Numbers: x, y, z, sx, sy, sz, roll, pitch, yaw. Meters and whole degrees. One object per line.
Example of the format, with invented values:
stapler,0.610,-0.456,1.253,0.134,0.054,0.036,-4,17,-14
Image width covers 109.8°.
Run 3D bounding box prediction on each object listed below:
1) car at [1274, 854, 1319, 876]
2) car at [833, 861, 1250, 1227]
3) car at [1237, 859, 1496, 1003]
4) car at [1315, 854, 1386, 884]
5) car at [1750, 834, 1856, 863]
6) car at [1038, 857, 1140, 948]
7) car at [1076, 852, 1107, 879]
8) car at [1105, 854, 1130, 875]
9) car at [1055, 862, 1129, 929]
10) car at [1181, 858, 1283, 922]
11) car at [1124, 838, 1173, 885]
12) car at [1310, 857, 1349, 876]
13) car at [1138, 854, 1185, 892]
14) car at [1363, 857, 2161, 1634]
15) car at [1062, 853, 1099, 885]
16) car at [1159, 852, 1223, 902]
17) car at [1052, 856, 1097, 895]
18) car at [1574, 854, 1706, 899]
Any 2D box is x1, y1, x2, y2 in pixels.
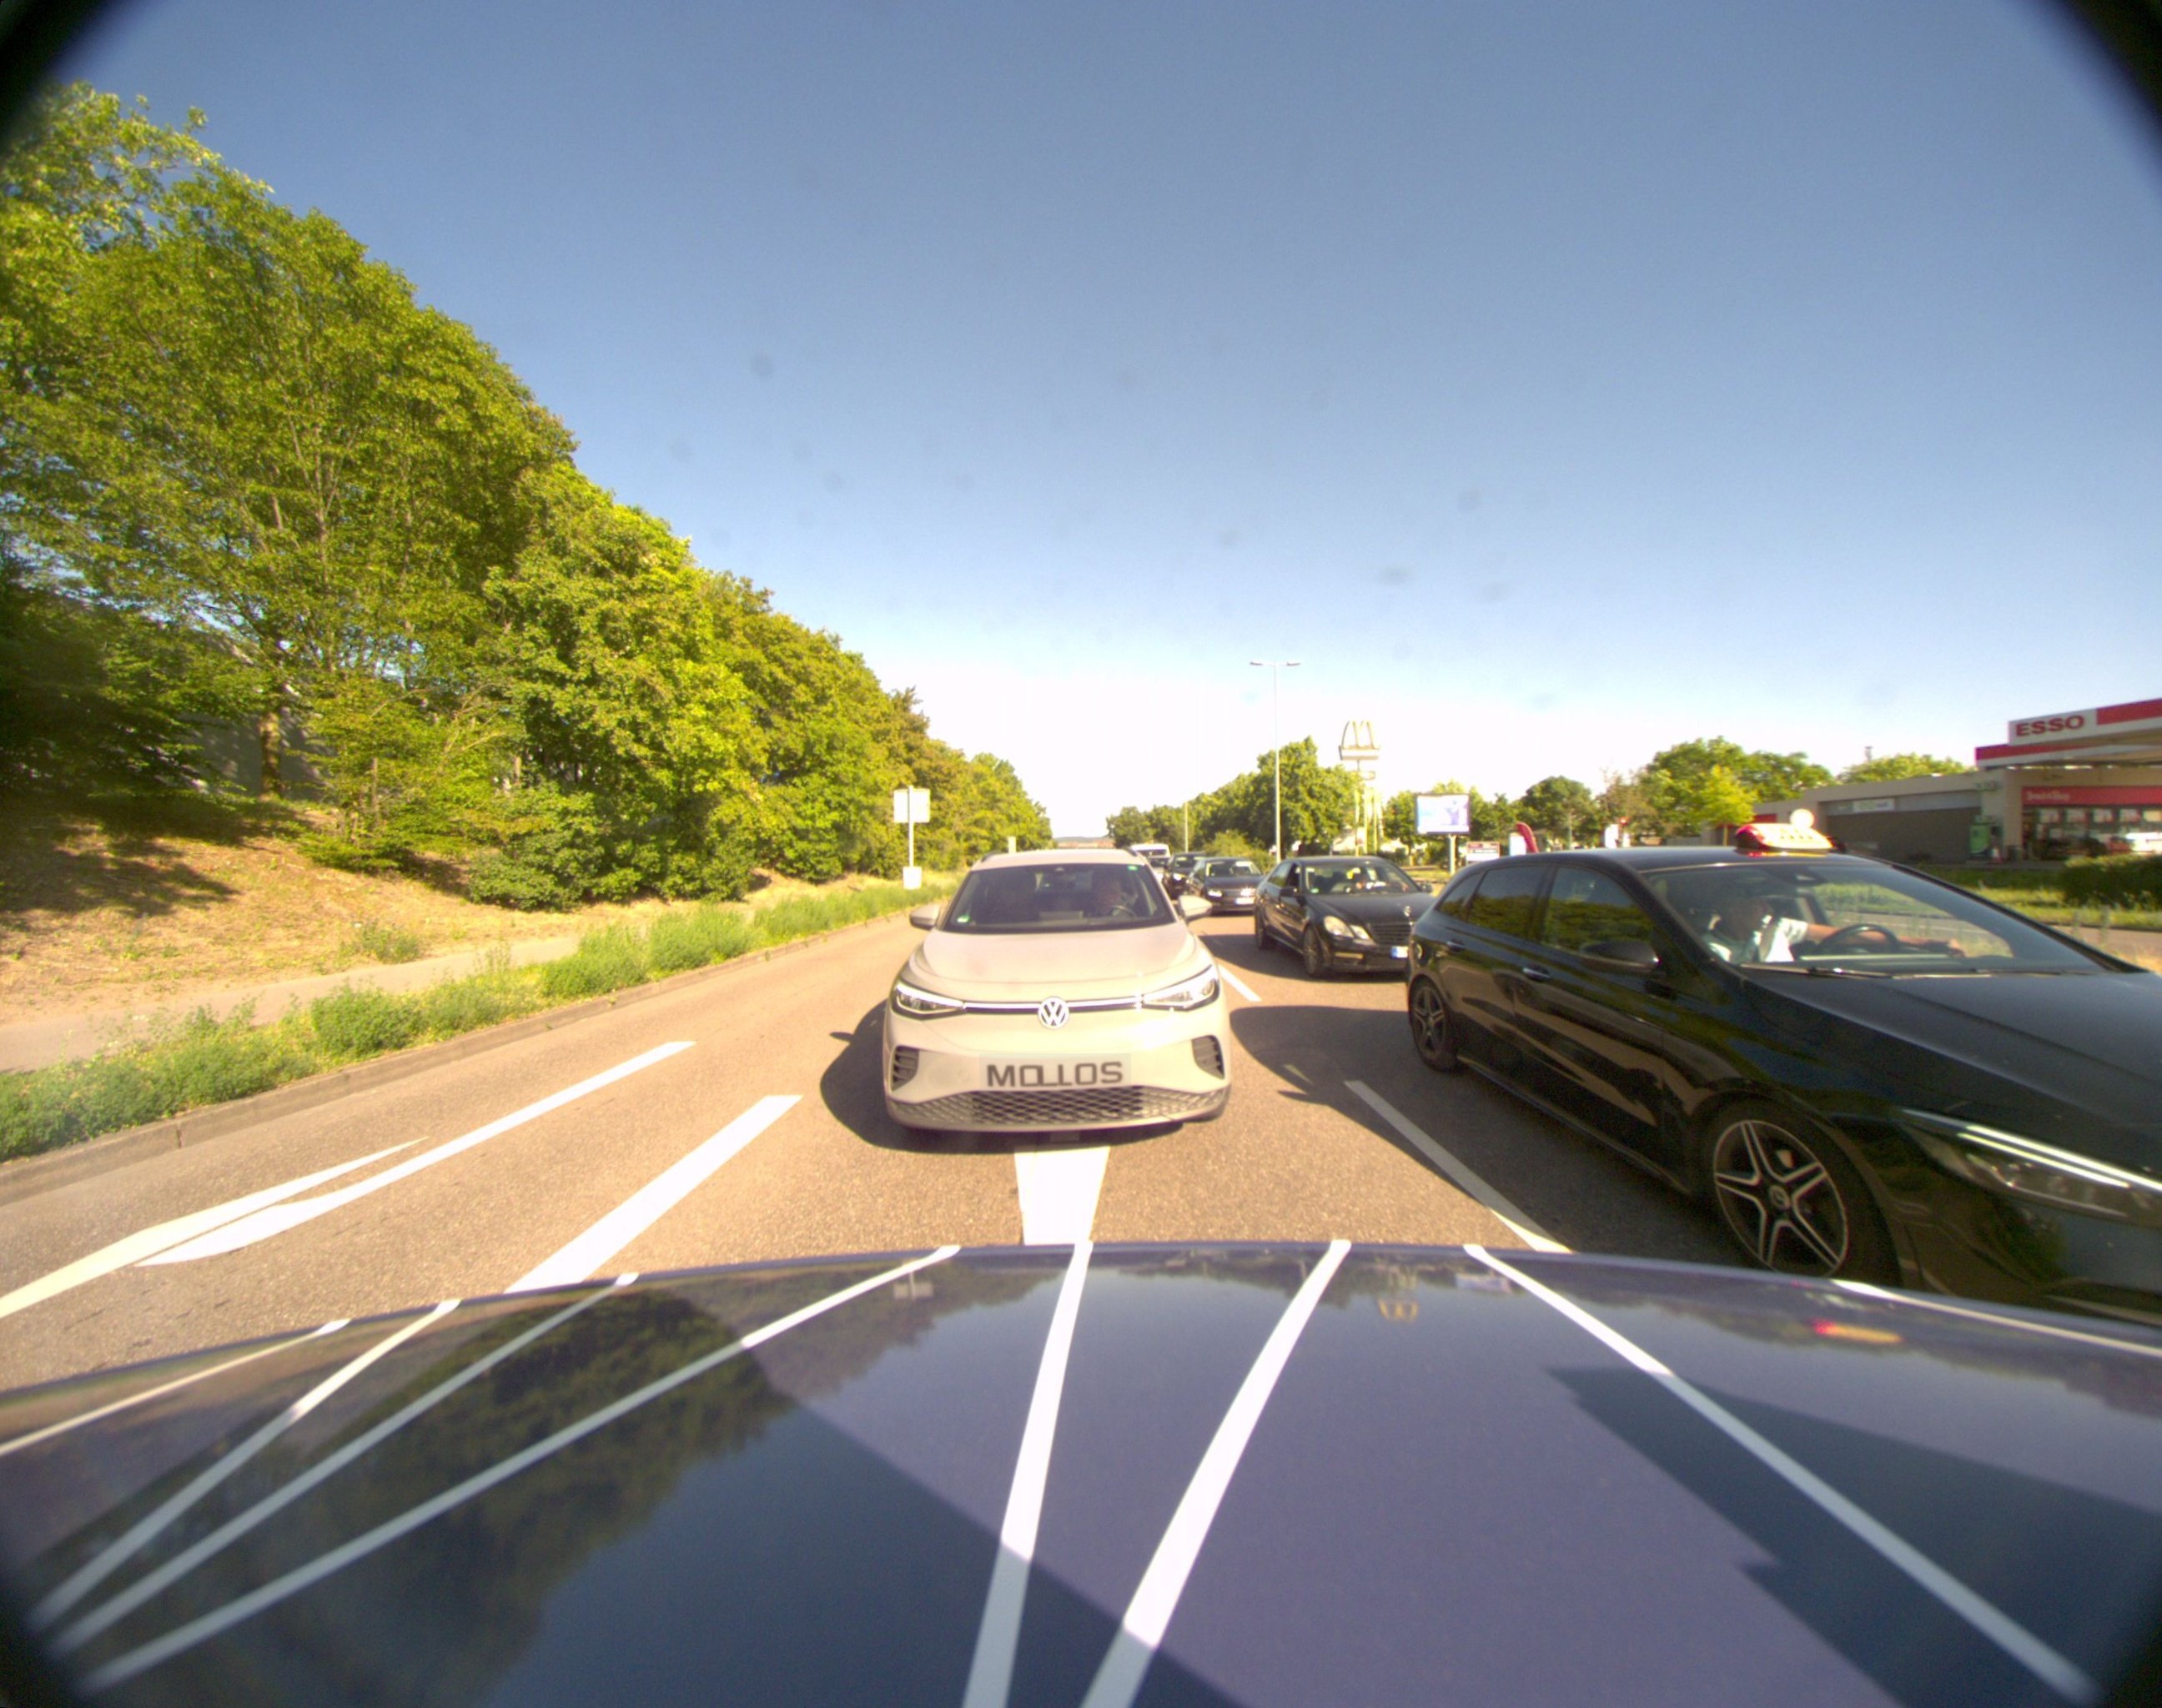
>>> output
car,16.133,0.782,57.092,1.764,1.482,4.878,2,1,-3
car,-0.186,0.902,5.712,1.862,1.573,4.403,-2,0,0
car,3.584,0.855,10.510,1.868,1.430,4.402,-2,1,0
car,13.715,0.737,38.888,1.733,1.401,4.303,1,1,-5
car,37.620,-0.310,39.727,1.682,1.401,3.978,1,1,0
car,0.130,0.875,15.769,1.763,1.482,4.402,-2,1,0
car,0.596,0.694,47.032,1.763,1.482,4.402,-2,1,0
car,2.923,0.820,62.125,1.763,1.607,4.402,-2,1,0
car,0.259,1.042,20.937,1.763,1.482,4.402,-2,1,0
car,3.867,0.864,20.226,1.797,1.419,4.287,-2,0,0
car,3.646,0.389,42.055,2.019,2.349,6.523,-2,0,0
car,19.911,0.964,61.120,1.763,1.401,3.978,1,1,0
car,3.566,0.795,34.175,1.635,1.547,3.777,-2,0,0
car,3.086,0.821,3.663,1.763,1.482,4.402,-2,1,0
car,-0.050,0.716,39.865,1.763,1.482,4.402,-2,1,0
car,3.898,0.761,27.485,1.674,1.607,3.879,-2,0,0
car,-0.264,0.884,33.043,1.763,1.482,4.402,-2,1,0
car,19.928,0.753,27.323,1.763,1.401,3.978,1,1,0
